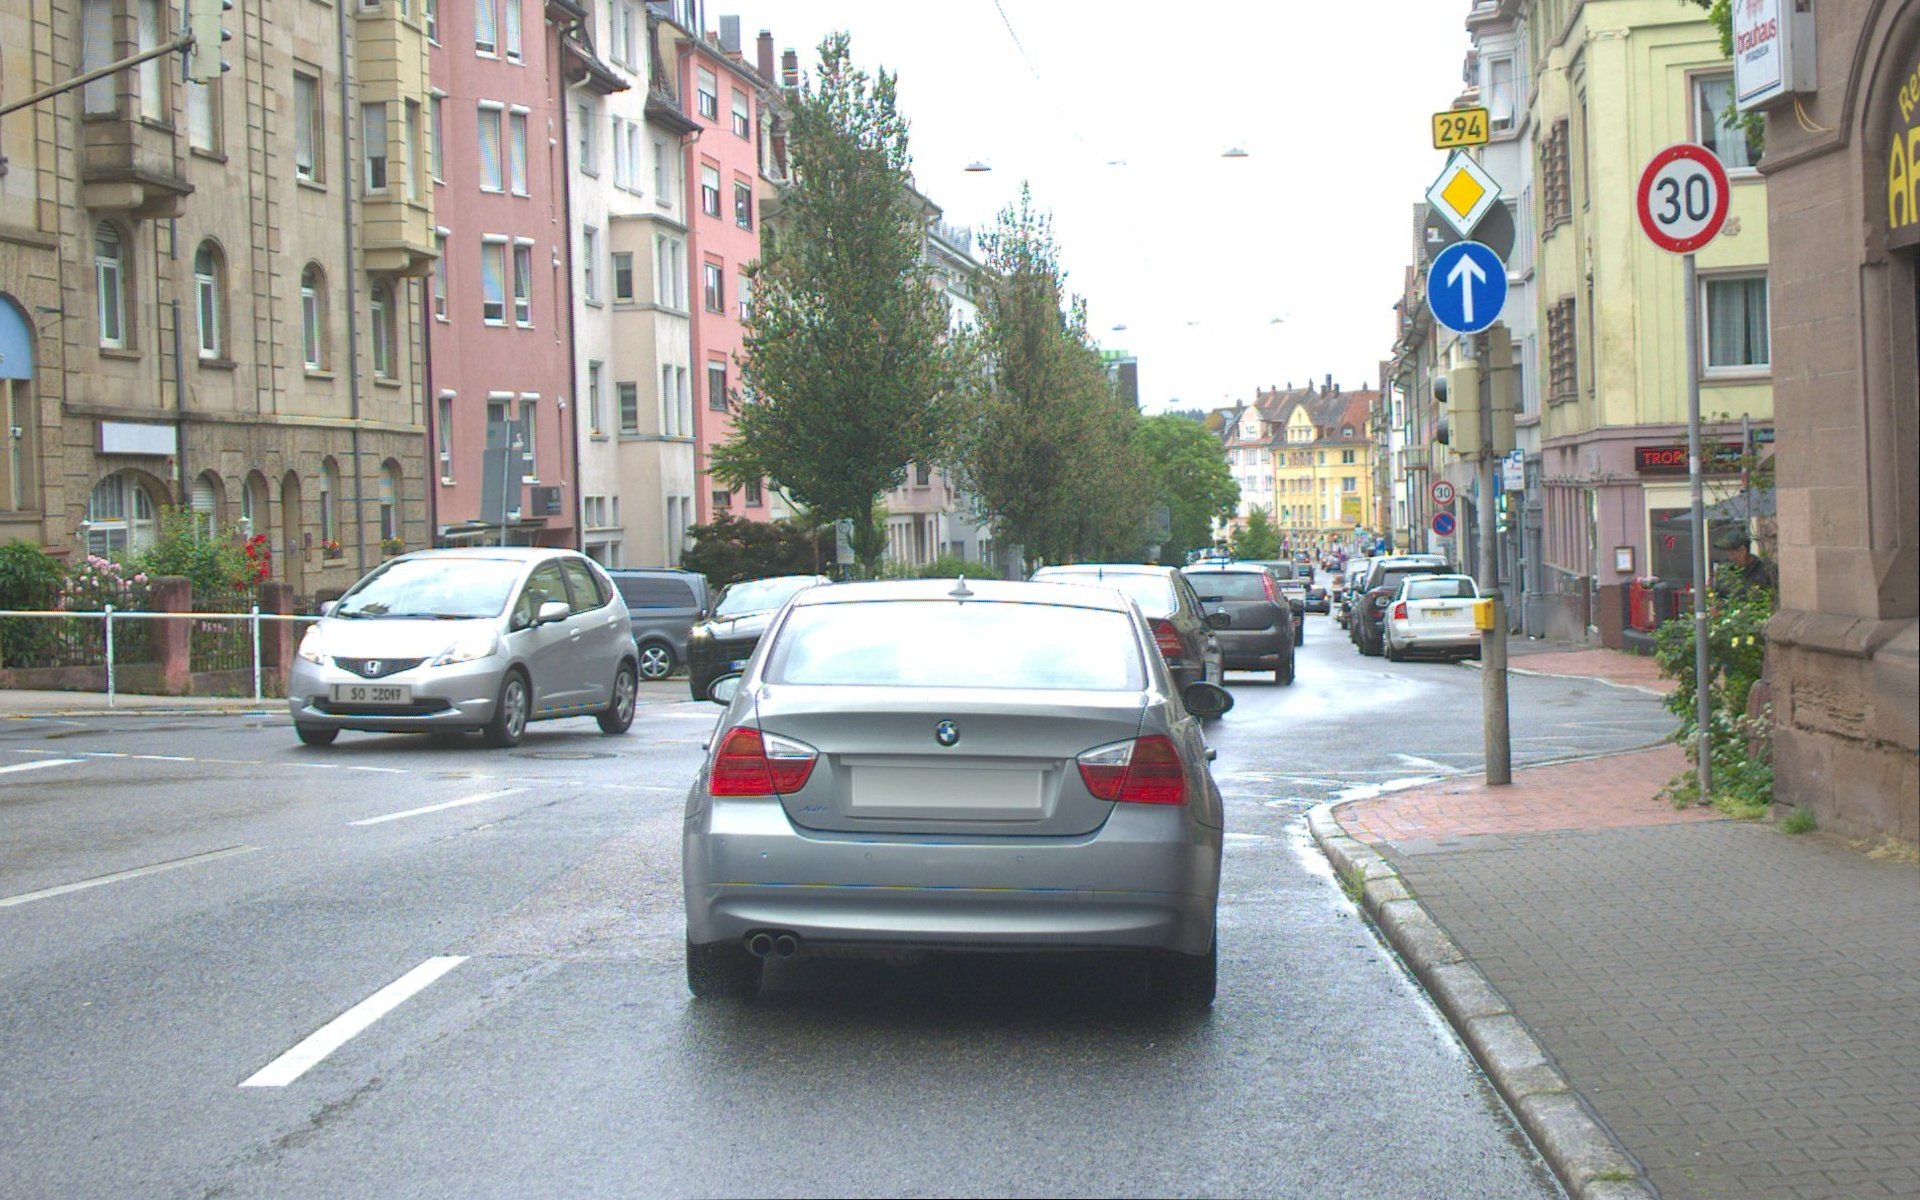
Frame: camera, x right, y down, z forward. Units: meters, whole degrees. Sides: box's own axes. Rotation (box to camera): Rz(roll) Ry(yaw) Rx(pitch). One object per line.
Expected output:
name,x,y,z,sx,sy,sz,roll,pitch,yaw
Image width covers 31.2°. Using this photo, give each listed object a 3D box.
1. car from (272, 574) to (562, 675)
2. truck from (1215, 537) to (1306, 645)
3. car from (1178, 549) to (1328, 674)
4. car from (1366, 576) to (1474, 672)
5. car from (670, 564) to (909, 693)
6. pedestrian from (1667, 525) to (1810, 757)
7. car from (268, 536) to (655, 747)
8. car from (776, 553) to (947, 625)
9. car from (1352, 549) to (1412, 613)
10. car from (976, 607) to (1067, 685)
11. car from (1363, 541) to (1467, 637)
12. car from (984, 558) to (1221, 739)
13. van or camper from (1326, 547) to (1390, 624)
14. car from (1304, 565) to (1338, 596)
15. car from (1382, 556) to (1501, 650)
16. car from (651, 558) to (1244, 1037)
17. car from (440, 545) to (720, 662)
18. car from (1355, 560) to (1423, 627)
car,-8.516,0.372,54.082,4.148,1.505,1.873,-1,0,7
truck,6.948,-0.186,79.358,2.032,2.404,4.826,0,0,5
car,3.599,0.150,42.680,1.697,1.478,3.793,0,0,2
car,8.610,0.432,64.635,1.879,1.725,4.675,0,0,6
car,-2.300,0.407,47.866,1.966,1.687,4.804,-1,-1,15
pedestrian,5.781,0.289,25.511,0.829,1.673,0.893,1,1,26
car,-3.788,0.264,26.768,1.626,1.513,3.868,0,1,14
car,-2.939,-0.321,103.458,4.830,1.967,2.047,-2,0,6
car,15.169,-0.678,123.644,1.982,2.158,4.749,-2,0,6
car,1.464,1.049,80.168,1.621,1.643,4.419,-4,0,6
car,9.322,-0.226,70.694,1.920,1.821,5.008,-2,0,6
car,1.264,0.385,29.016,1.682,1.423,3.740,0,0,7
van or camper,15.522,-0.566,133.735,2.034,2.859,6.882,1,0,10
car,20.588,-1.118,196.012,1.879,1.725,4.439,0,0,6
car,8.237,0.047,59.083,1.799,1.559,4.492,0,0,5
car,-0.115,0.607,12.135,1.769,1.423,3.741,0,-1,-3
car,-6.499,0.050,59.146,4.674,1.932,1.863,1,1,-3
car,13.562,-0.209,108.871,1.982,2.000,4.624,-2,0,6
